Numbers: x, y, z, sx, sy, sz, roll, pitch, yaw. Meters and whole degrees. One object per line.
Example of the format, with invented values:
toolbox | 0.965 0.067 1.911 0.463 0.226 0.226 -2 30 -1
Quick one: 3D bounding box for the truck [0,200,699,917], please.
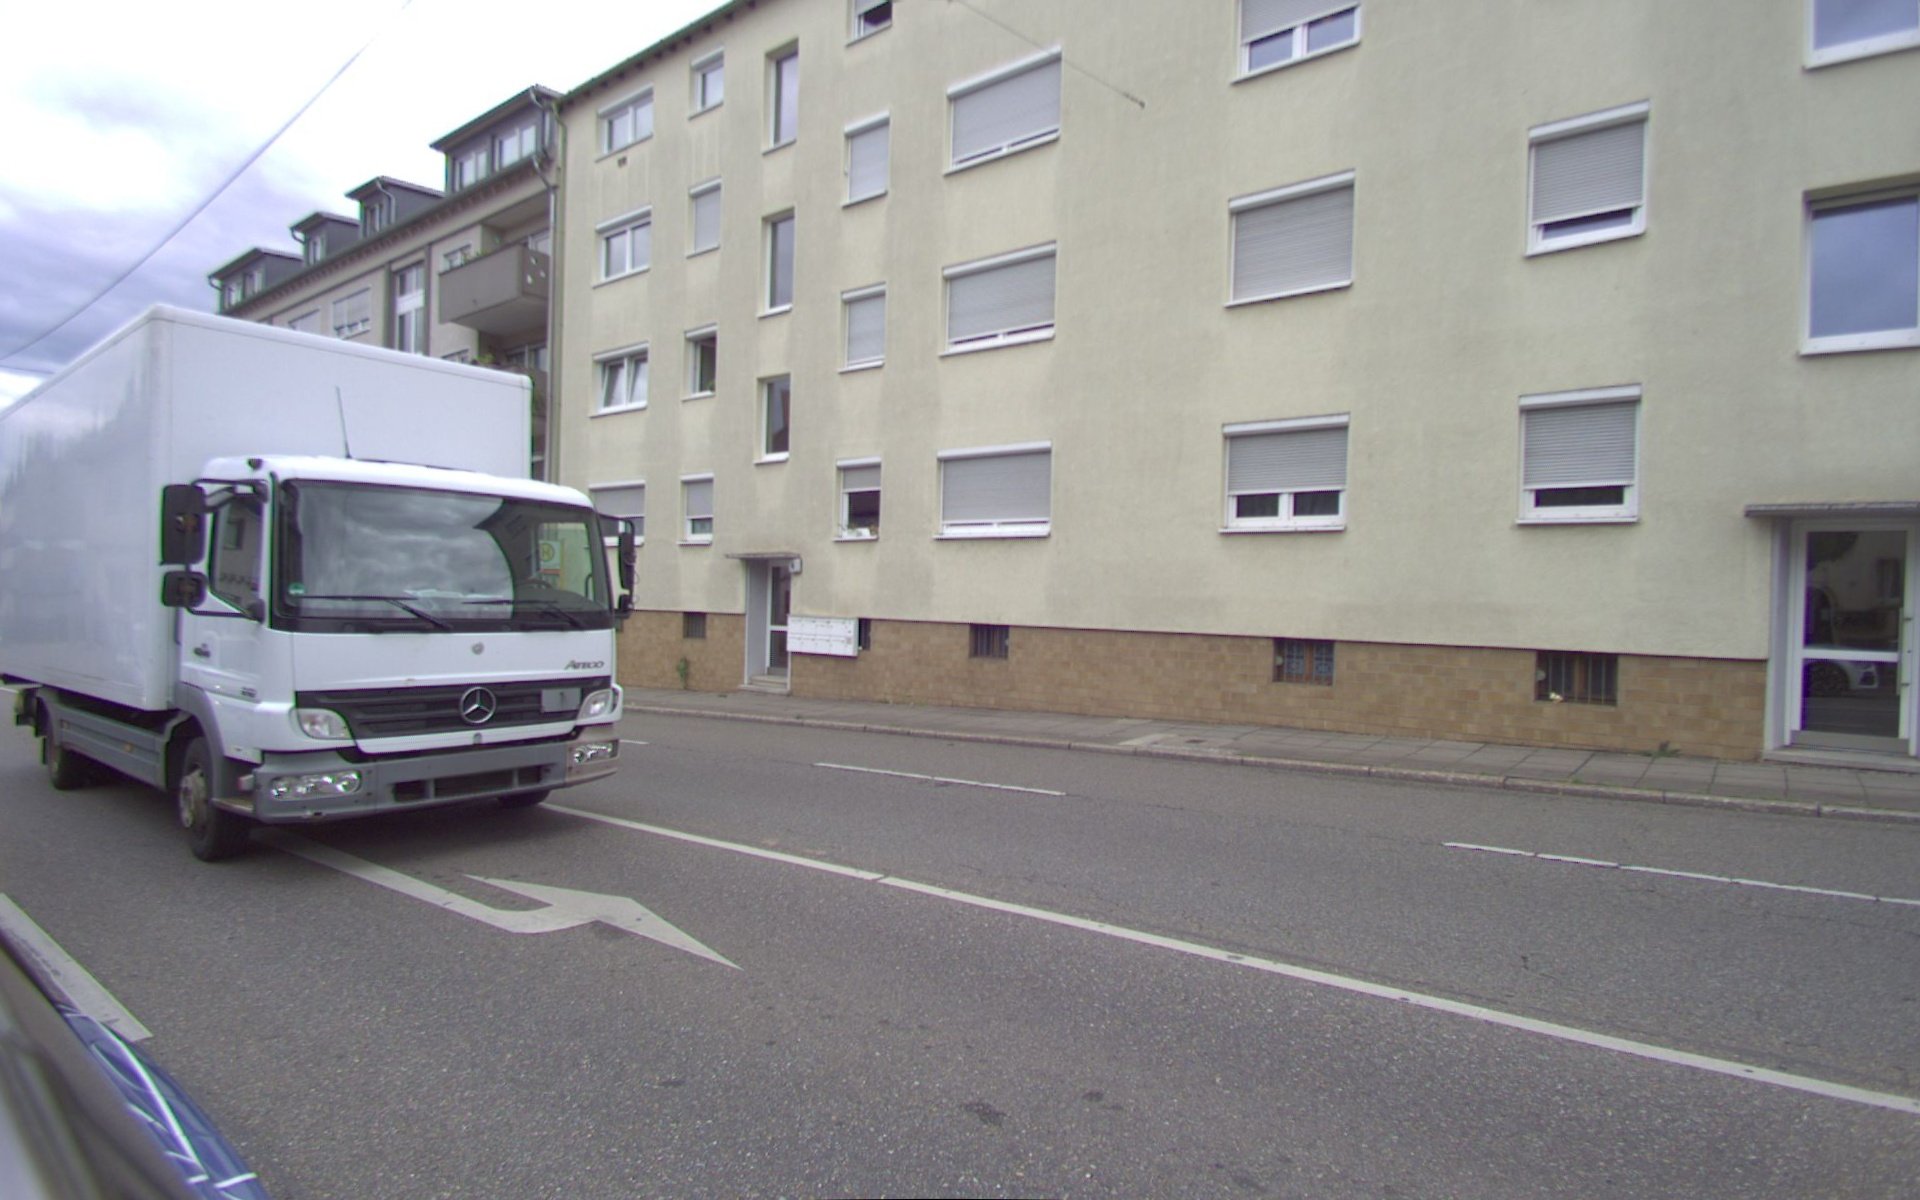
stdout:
truck | -5.892 -0.116 8.651 8.052 3.602 2.743 -2 -1 38
